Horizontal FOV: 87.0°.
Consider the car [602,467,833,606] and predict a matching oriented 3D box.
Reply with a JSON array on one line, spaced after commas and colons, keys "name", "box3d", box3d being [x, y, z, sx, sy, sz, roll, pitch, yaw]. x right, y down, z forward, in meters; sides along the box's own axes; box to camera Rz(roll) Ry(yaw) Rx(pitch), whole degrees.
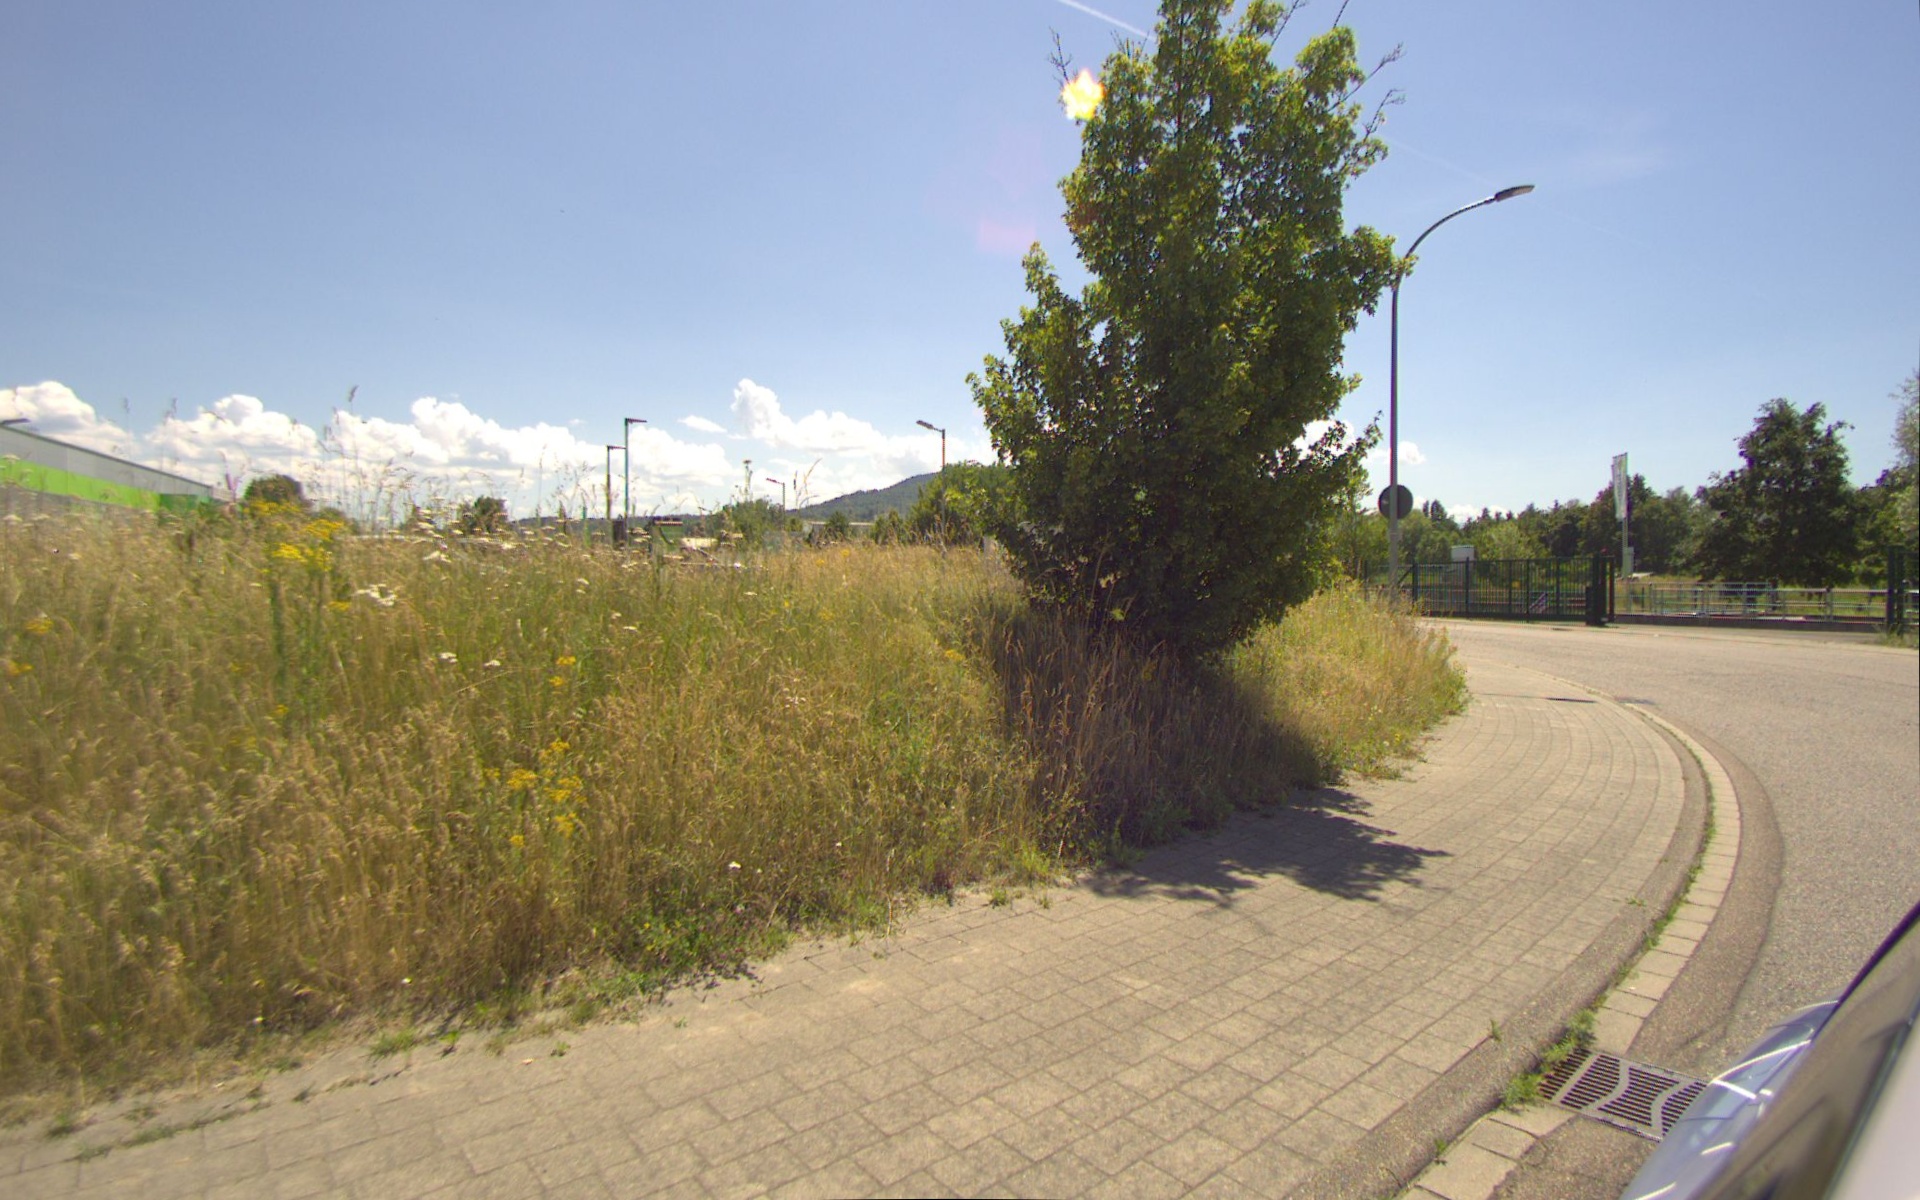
[{"name": "car", "box3d": [-5.290, -1.354, 22.031, 4.652, 2.777, 2.004, -1, 1, -20]}]

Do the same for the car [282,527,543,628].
[{"name": "car", "box3d": [-10.660, -0.485, 20.046, 4.311, 1.808, 1.957, -2, 2, -26]}]

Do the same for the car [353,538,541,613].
[{"name": "car", "box3d": [-13.614, -0.694, 27.142, 4.310, 1.890, 2.004, -2, 2, -24]}]

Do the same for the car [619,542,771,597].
[{"name": "car", "box3d": [-8.693, -1.024, 33.187, 4.652, 1.686, 2.004, -1, 2, -20]}]

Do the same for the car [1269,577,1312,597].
[{"name": "car", "box3d": [27.328, -1.105, 83.814, 1.764, 1.638, 4.006, 0, 1, -8]}]

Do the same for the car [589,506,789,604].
[{"name": "car", "box3d": [-6.467, -1.068, 24.209, 4.311, 2.171, 1.957, -2, 2, -26]}]
